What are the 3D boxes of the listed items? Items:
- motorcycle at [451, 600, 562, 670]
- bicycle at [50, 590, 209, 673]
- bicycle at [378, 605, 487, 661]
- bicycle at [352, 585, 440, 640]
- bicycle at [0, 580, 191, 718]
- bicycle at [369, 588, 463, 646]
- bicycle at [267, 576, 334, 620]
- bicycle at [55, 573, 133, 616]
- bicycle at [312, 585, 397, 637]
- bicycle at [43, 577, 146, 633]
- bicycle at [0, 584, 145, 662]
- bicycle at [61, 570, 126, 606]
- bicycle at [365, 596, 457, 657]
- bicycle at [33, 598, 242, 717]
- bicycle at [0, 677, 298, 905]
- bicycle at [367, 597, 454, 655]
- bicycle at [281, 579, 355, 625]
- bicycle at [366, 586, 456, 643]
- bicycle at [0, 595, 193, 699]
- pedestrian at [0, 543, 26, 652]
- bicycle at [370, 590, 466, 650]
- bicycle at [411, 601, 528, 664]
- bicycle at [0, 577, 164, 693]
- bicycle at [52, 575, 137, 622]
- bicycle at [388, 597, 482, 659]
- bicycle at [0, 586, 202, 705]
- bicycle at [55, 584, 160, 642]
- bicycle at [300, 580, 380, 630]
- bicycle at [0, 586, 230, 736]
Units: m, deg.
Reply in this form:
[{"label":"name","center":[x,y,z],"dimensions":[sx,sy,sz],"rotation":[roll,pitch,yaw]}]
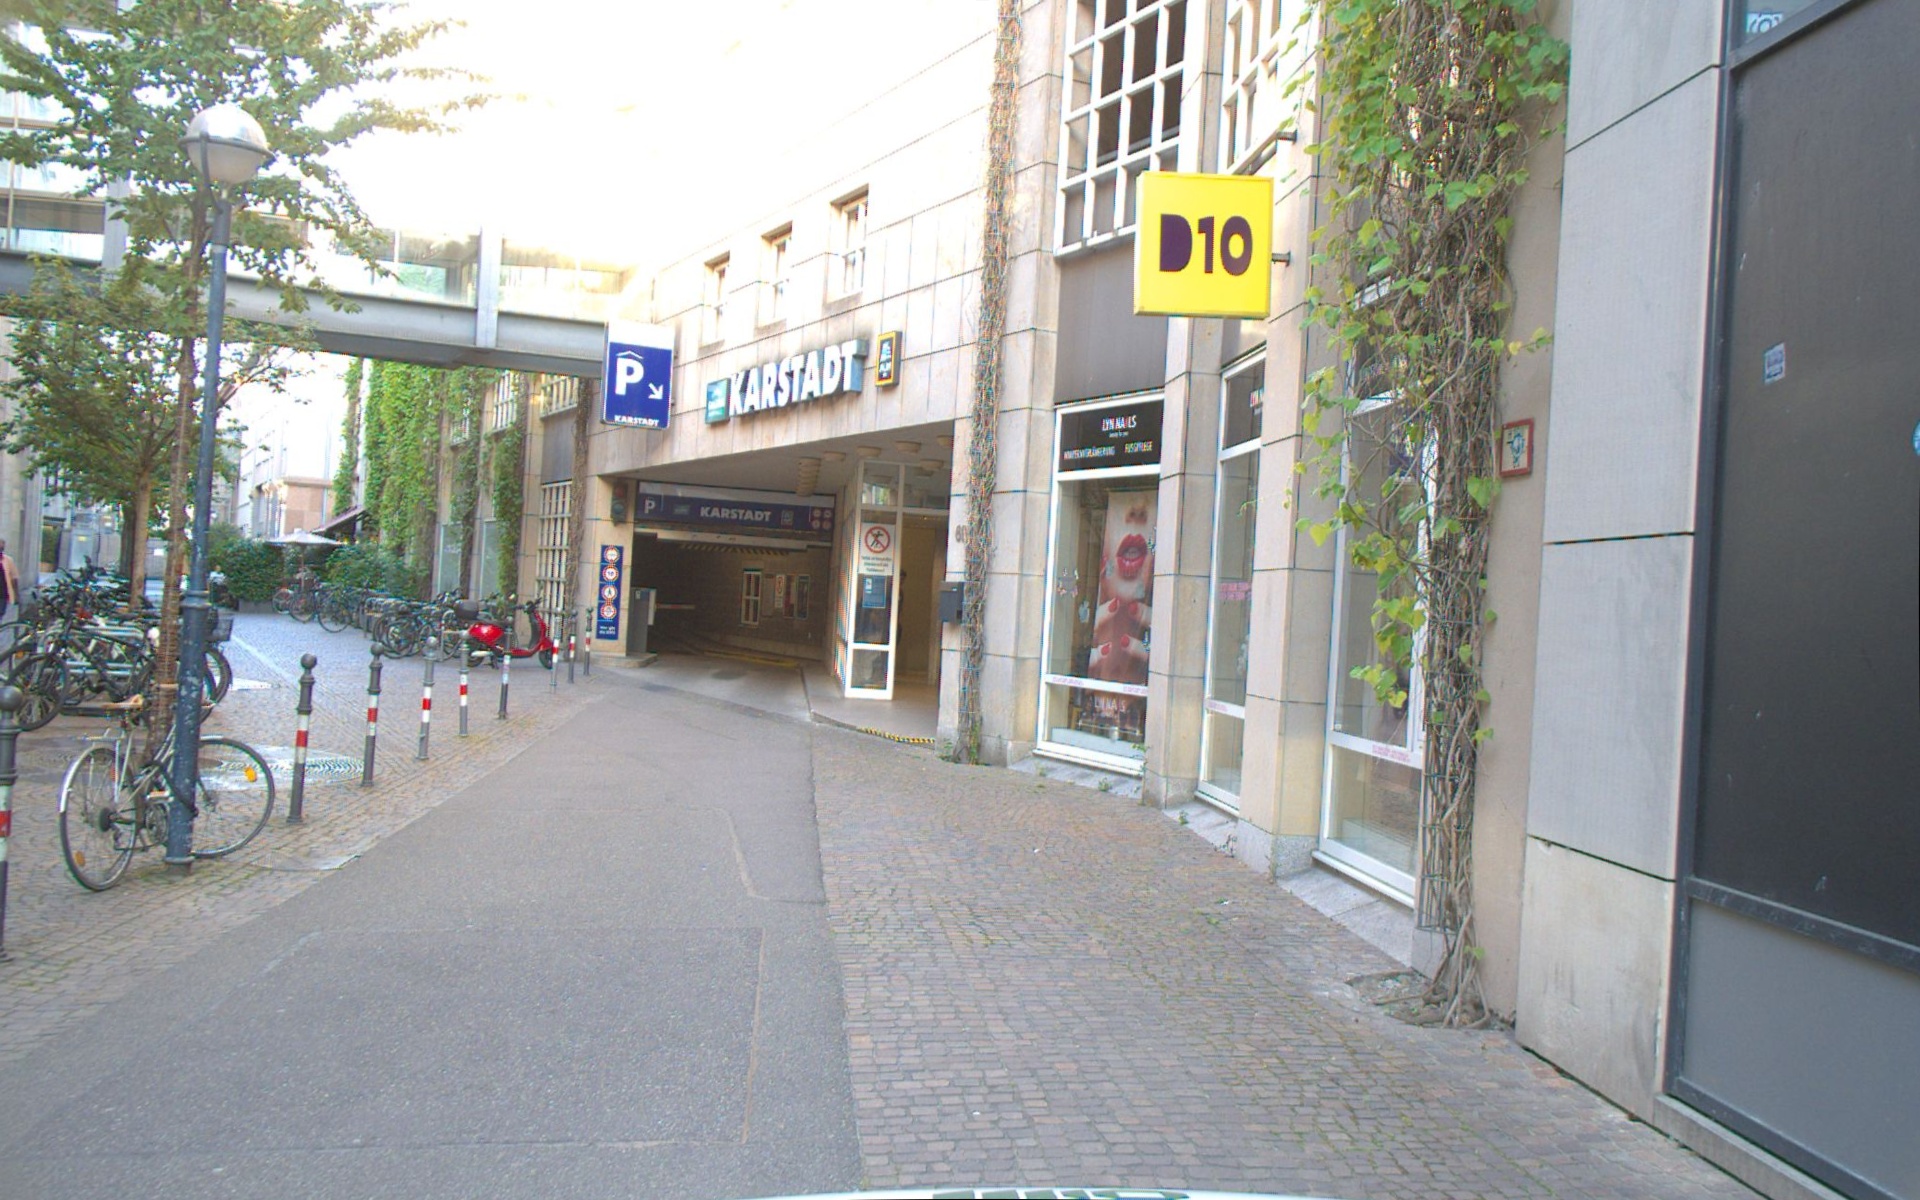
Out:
[{"label":"motorcycle","center":[-7.347,0.568,26.793],"dimensions":[1.643,1.069,0.459],"rotation":[3,0,-28]},{"label":"bicycle","center":[-11.155,0.430,22.243],"dimensions":[1.856,1.061,0.529],"rotation":[2,0,-30]},{"label":"bicycle","center":[-9.261,0.586,29.045],"dimensions":[1.752,0.919,0.459],"rotation":[3,0,-28]},{"label":"bicycle","center":[-12.444,0.273,36.500],"dimensions":[1.752,1.134,0.538],"rotation":[3,0,-28]},{"label":"bicycle","center":[-8.256,0.474,15.729],"dimensions":[1.636,1.252,0.529],"rotation":[2,0,-30]},{"label":"bicycle","center":[-11.304,0.354,34.396],"dimensions":[1.752,1.134,0.538],"rotation":[3,0,-28]},{"label":"bicycle","center":[-19.483,-0.056,48.872],"dimensions":[1.752,1.211,0.581],"rotation":[3,0,-28]},{"label":"bicycle","center":[-24.332,-0.156,46.498],"dimensions":[1.883,1.131,0.476],"rotation":[2,0,-30]},{"label":"bicycle","center":[-14.113,0.268,38.561],"dimensions":[1.752,1.134,0.538],"rotation":[3,0,-28]},{"label":"bicycle","center":[-17.111,0.107,32.714],"dimensions":[1.760,1.037,0.476],"rotation":[2,0,-30]},{"label":"bicycle","center":[-12.763,0.333,23.810],"dimensions":[1.805,1.061,0.529],"rotation":[2,0,-30]},{"label":"bicycle","center":[-29.038,-0.401,55.459],"dimensions":[1.884,1.131,0.476],"rotation":[2,0,-31]},{"label":"bicycle","center":[-10.238,0.500,30.863],"dimensions":[1.521,1.067,0.570],"rotation":[3,0,-27]},{"label":"bicycle","center":[-8.251,0.586,16.627],"dimensions":[1.816,1.142,0.529],"rotation":[2,0,-30]},{"label":"bicycle","center":[-4.101,0.918,8.477],"dimensions":[0.482,0.955,1.660],"rotation":[4,0,8]},{"label":"bicycle","center":[-10.698,0.502,32.210],"dimensions":[1.521,1.067,0.570],"rotation":[3,0,-27]},{"label":"bicycle","center":[-17.077,0.046,44.002],"dimensions":[1.750,1.134,0.538],"rotation":[3,0,-25]},{"label":"bicycle","center":[-11.795,0.318,35.544],"dimensions":[1.752,1.134,0.538],"rotation":[3,0,-28]},{"label":"bicycle","center":[-9.403,0.518,17.976],"dimensions":[1.873,1.070,0.529],"rotation":[2,0,-30]},{"label":"pedestrian","center":[-14.385,-0.045,24.704],"dimensions":[0.690,1.610,0.712],"rotation":[2,0,-29]},{"label":"bicycle","center":[-10.927,0.405,33.363],"dimensions":[1.752,1.134,0.538],"rotation":[3,0,-28]},{"label":"bicycle","center":[-8.384,0.561,28.299],"dimensions":[1.826,0.999,0.459],"rotation":[3,0,-28]},{"label":"bicycle","center":[-9.981,0.394,18.582],"dimensions":[1.813,1.246,0.529],"rotation":[2,0,-30]},{"label":"bicycle","center":[-22.291,-0.044,42.610],"dimensions":[1.883,1.131,0.476],"rotation":[2,0,-30]},{"label":"bicycle","center":[-9.509,0.510,29.970],"dimensions":[1.521,1.067,0.570],"rotation":[3,0,-27]},{"label":"bicycle","center":[-9.068,0.489,17.484],"dimensions":[1.852,1.198,0.529],"rotation":[2,0,-30]},{"label":"bicycle","center":[-16.460,0.256,31.953],"dimensions":[1.760,1.037,0.476],"rotation":[2,0,-30]},{"label":"bicycle","center":[-15.082,0.130,40.255],"dimensions":[1.752,1.134,0.538],"rotation":[3,0,-28]},{"label":"bicycle","center":[-7.413,0.537,14.548],"dimensions":[1.747,1.252,0.529],"rotation":[2,0,-30]}]
